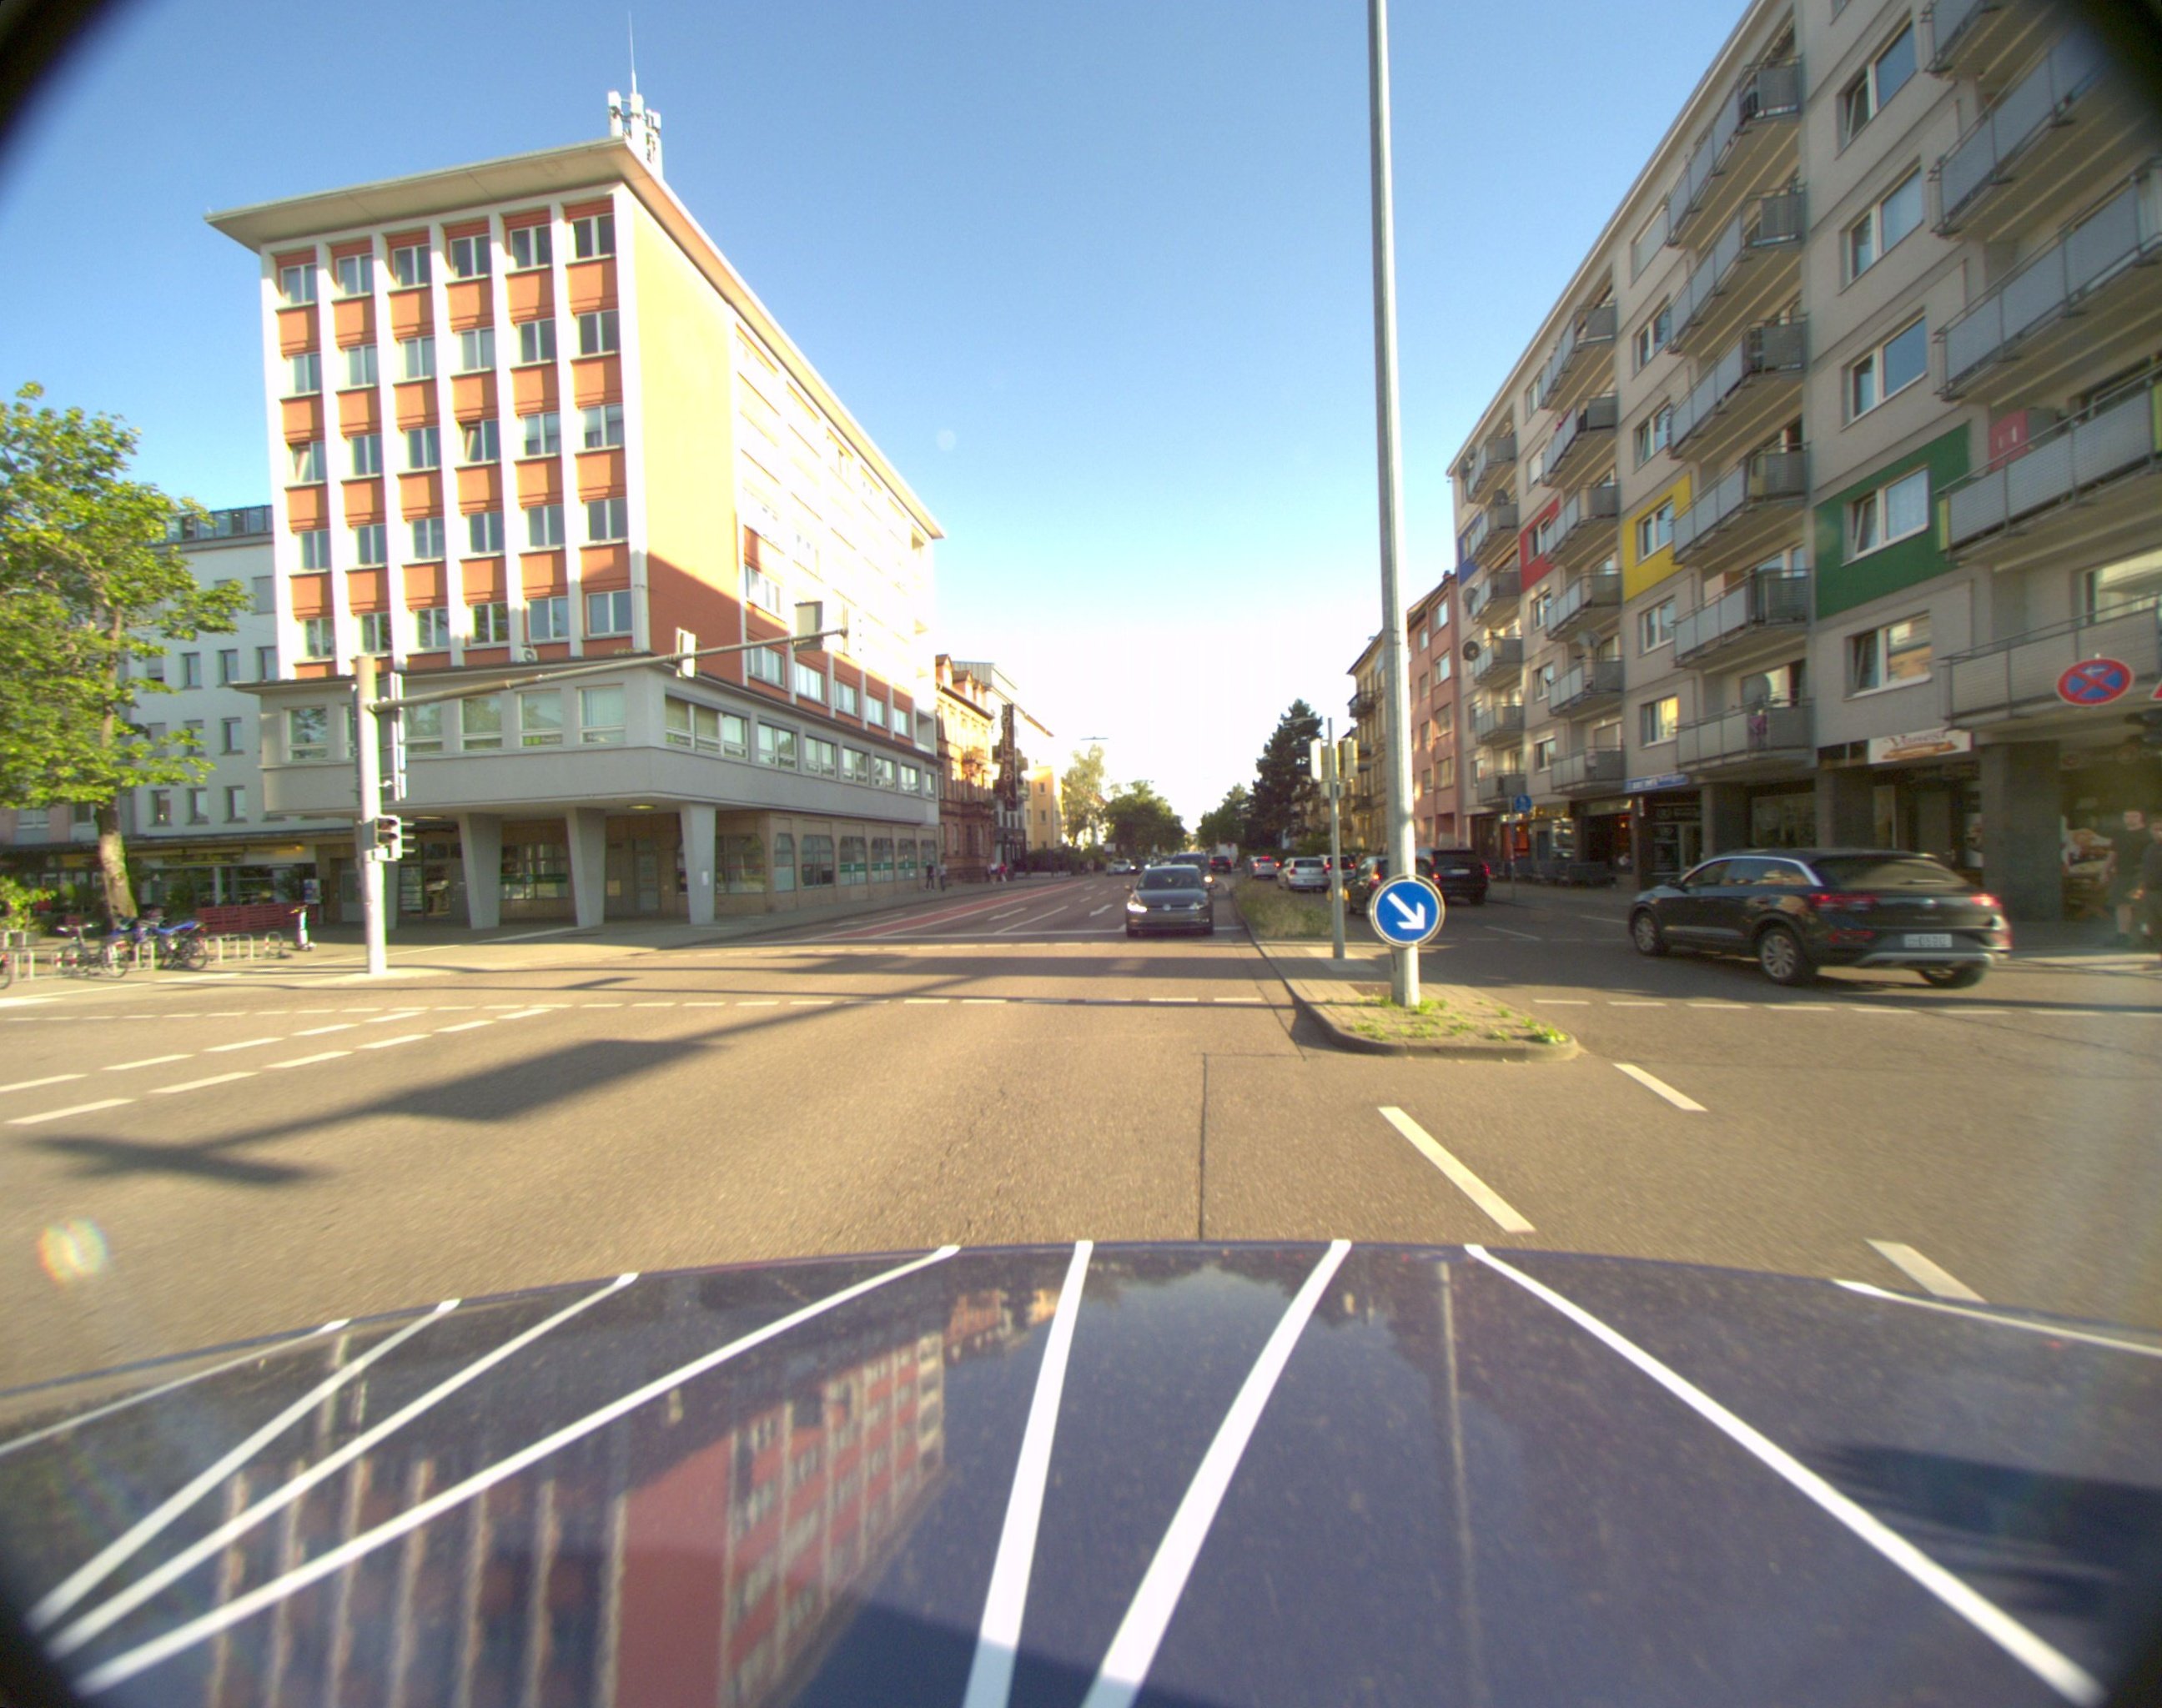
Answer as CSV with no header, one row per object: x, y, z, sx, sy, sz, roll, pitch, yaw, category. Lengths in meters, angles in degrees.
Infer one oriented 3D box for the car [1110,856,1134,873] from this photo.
4.153,1.050,76.349,1.904,1.508,4.077,-2,0,10,car

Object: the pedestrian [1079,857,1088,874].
0.246,1.068,71.720,0.738,1.593,1.012,1,1,10,pedestrian

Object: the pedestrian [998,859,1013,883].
-5.196,1.140,52.342,0.737,1.579,1.012,2,1,14,pedestrian

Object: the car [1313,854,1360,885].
13.207,0.754,39.450,1.678,1.535,3.640,0,0,9,car

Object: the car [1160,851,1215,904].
4.127,0.823,29.202,1.894,1.843,4.469,-1,0,9,car

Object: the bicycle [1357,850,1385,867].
21.030,0.323,55.055,1.779,1.184,0.473,-2,0,7,bicycle

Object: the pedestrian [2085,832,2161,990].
12.733,0.650,8.969,0.609,1.776,0.813,-4,0,13,pedestrian

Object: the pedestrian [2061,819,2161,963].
14.238,0.487,10.353,0.609,1.864,0.813,-4,0,10,pedestrian

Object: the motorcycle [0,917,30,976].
-26.119,2.214,18.070,2.052,1.300,0.892,-1,1,25,motorcycle

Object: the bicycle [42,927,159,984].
-20.925,2.156,16.223,2.004,1.108,0.594,0,0,8,bicycle

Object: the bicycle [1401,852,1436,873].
19.720,0.508,44.416,1.779,1.184,0.473,-2,0,7,bicycle

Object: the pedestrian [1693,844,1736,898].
17.676,0.465,21.209,0.625,1.458,0.658,-2,1,-6,pedestrian

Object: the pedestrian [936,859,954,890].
-7.902,1.176,44.127,0.667,1.716,1.012,-2,1,10,pedestrian

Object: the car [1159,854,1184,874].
7.935,0.860,66.370,1.905,1.532,4.002,-2,1,9,car

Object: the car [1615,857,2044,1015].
8.884,0.843,9.648,1.798,1.556,4.151,-1,-1,9,car

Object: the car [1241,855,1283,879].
11.268,0.805,47.502,1.713,1.417,4.102,0,0,1,car

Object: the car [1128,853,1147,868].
6.865,0.776,91.889,1.946,1.615,4.197,-2,0,9,car

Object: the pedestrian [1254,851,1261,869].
16.588,0.560,71.340,0.577,1.591,0.482,-2,0,10,pedestrian

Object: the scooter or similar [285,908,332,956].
-21.746,2.169,21.376,1.557,1.228,0.485,0,1,29,scooter or similar

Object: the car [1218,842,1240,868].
16.055,0.060,82.575,2.134,2.740,4.469,-1,0,9,car

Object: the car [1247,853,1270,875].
13.295,0.745,57.070,1.537,1.583,2.810,0,0,11,car

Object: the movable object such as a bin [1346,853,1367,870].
20.207,0.546,55.681,1.195,1.225,0.847,-2,0,-30,movable object such as a bin

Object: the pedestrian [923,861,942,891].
-8.655,1.292,44.283,0.667,1.716,1.012,-2,0,10,pedestrian

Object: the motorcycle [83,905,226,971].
-23.668,2.110,19.496,0.843,1.384,2.266,-3,0,-2,motorcycle

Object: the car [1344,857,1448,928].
7.484,0.853,18.342,1.580,1.535,3.480,0,0,10,car

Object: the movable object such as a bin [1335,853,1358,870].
19.761,0.568,56.509,1.294,1.225,0.927,-2,0,-30,movable object such as a bin

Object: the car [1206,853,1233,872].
11.530,0.707,63.549,1.679,1.535,4.103,0,0,3,car

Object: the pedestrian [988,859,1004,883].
-5.890,1.149,52.657,0.785,1.579,1.012,2,1,14,pedestrian

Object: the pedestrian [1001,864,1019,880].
-5.363,1.357,57.391,1.099,1.129,0.925,-2,0,7,pedestrian

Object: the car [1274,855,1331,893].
9.380,0.820,32.411,1.679,1.535,3.808,0,0,6,car

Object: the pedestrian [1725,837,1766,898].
18.597,0.366,21.271,0.626,1.662,0.657,-2,1,-26,pedestrian

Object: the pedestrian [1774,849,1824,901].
18.670,0.541,19.764,0.626,1.306,0.808,-2,1,-34,pedestrian

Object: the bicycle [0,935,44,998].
-21.173,2.147,14.586,1.975,1.109,0.594,0,0,7,bicycle

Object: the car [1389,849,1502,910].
11.153,0.730,23.637,1.819,1.701,4.789,0,0,8,car

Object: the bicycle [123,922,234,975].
-20.749,2.163,17.477,2.059,1.108,0.594,0,0,7,bicycle

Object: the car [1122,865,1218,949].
2.080,1.061,16.796,1.769,1.450,4.272,-3,0,10,car

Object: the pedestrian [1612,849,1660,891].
18.496,0.516,25.327,0.973,1.338,0.883,-2,0,9,pedestrian
